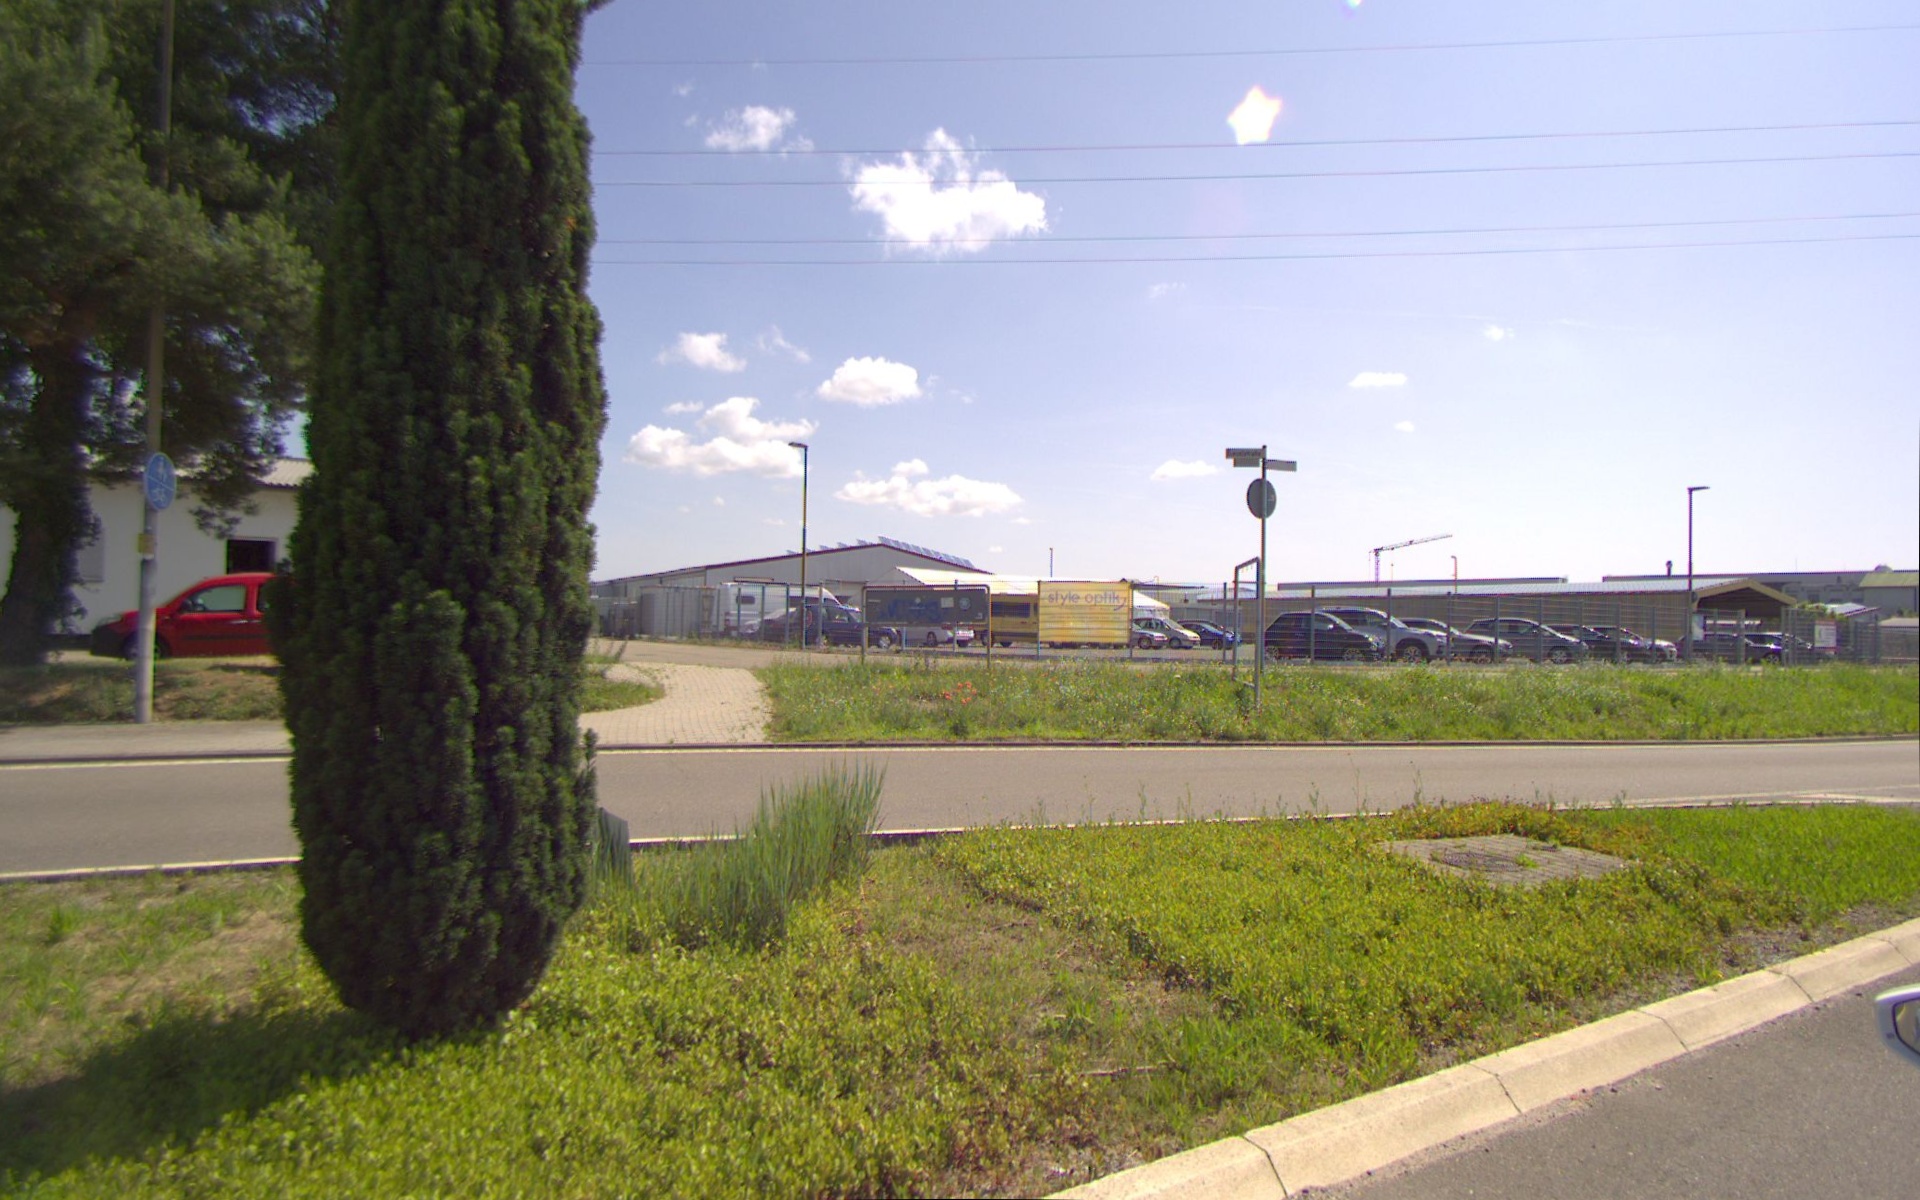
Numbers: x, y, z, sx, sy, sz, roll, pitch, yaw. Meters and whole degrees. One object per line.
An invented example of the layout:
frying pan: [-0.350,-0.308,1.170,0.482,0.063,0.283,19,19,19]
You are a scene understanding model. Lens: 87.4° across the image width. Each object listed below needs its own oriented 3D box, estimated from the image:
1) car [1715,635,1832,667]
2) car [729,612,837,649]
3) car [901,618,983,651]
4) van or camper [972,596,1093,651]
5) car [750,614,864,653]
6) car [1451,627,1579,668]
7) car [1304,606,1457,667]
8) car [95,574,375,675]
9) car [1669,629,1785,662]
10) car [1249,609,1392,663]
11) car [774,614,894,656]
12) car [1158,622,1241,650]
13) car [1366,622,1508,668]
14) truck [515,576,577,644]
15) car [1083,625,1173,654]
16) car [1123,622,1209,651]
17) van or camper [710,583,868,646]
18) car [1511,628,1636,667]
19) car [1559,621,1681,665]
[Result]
car: [37.221,2.300,46.096,3.930,1.327,1.939,0,-1,32]
car: [-7.267,1.261,41.296,3.953,1.452,1.911,2,-1,-30]
car: [-0.846,1.470,43.504,1.975,1.327,3.971,2,-1,-28]
van or camper: [3.302,1.065,46.204,5.247,2.407,1.890,0,-1,32]
car: [-5.930,1.298,39.066,3.953,1.452,1.911,2,-1,-30]
car: [19.981,1.665,36.217,3.930,1.327,1.938,0,-1,32]
car: [12.822,1.071,30.725,4.040,1.727,1.718,0,-1,35]
car: [-13.857,0.509,19.554,4.182,1.767,1.983,2,-2,-32]
car: [34.336,2.028,45.080,3.930,1.327,1.938,0,-1,32]
car: [10.390,1.017,29.001,3.513,1.420,1.794,0,-2,37]
car: [-4.609,1.265,36.878,3.961,1.452,1.907,2,-1,-36]
car: [12.781,1.905,53.702,3.930,1.327,1.938,0,-1,32]
car: [15.310,1.418,32.279,3.930,1.327,1.939,0,-1,32]
truck: [-29.590,0.751,71.575,2.814,4.577,8.522,1,-1,-31]
car: [8.280,1.921,49.495,3.930,1.327,1.938,0,-1,32]
car: [10.579,1.862,51.579,3.930,1.327,1.939,0,-1,32]
van or camper: [-7.563,0.695,44.770,6.690,2.634,1.984,2,-1,-30]
car: [23.055,1.758,37.823,3.932,1.327,1.938,0,-2,33]
car: [26.070,1.673,39.842,3.930,1.560,1.938,0,-1,32]
